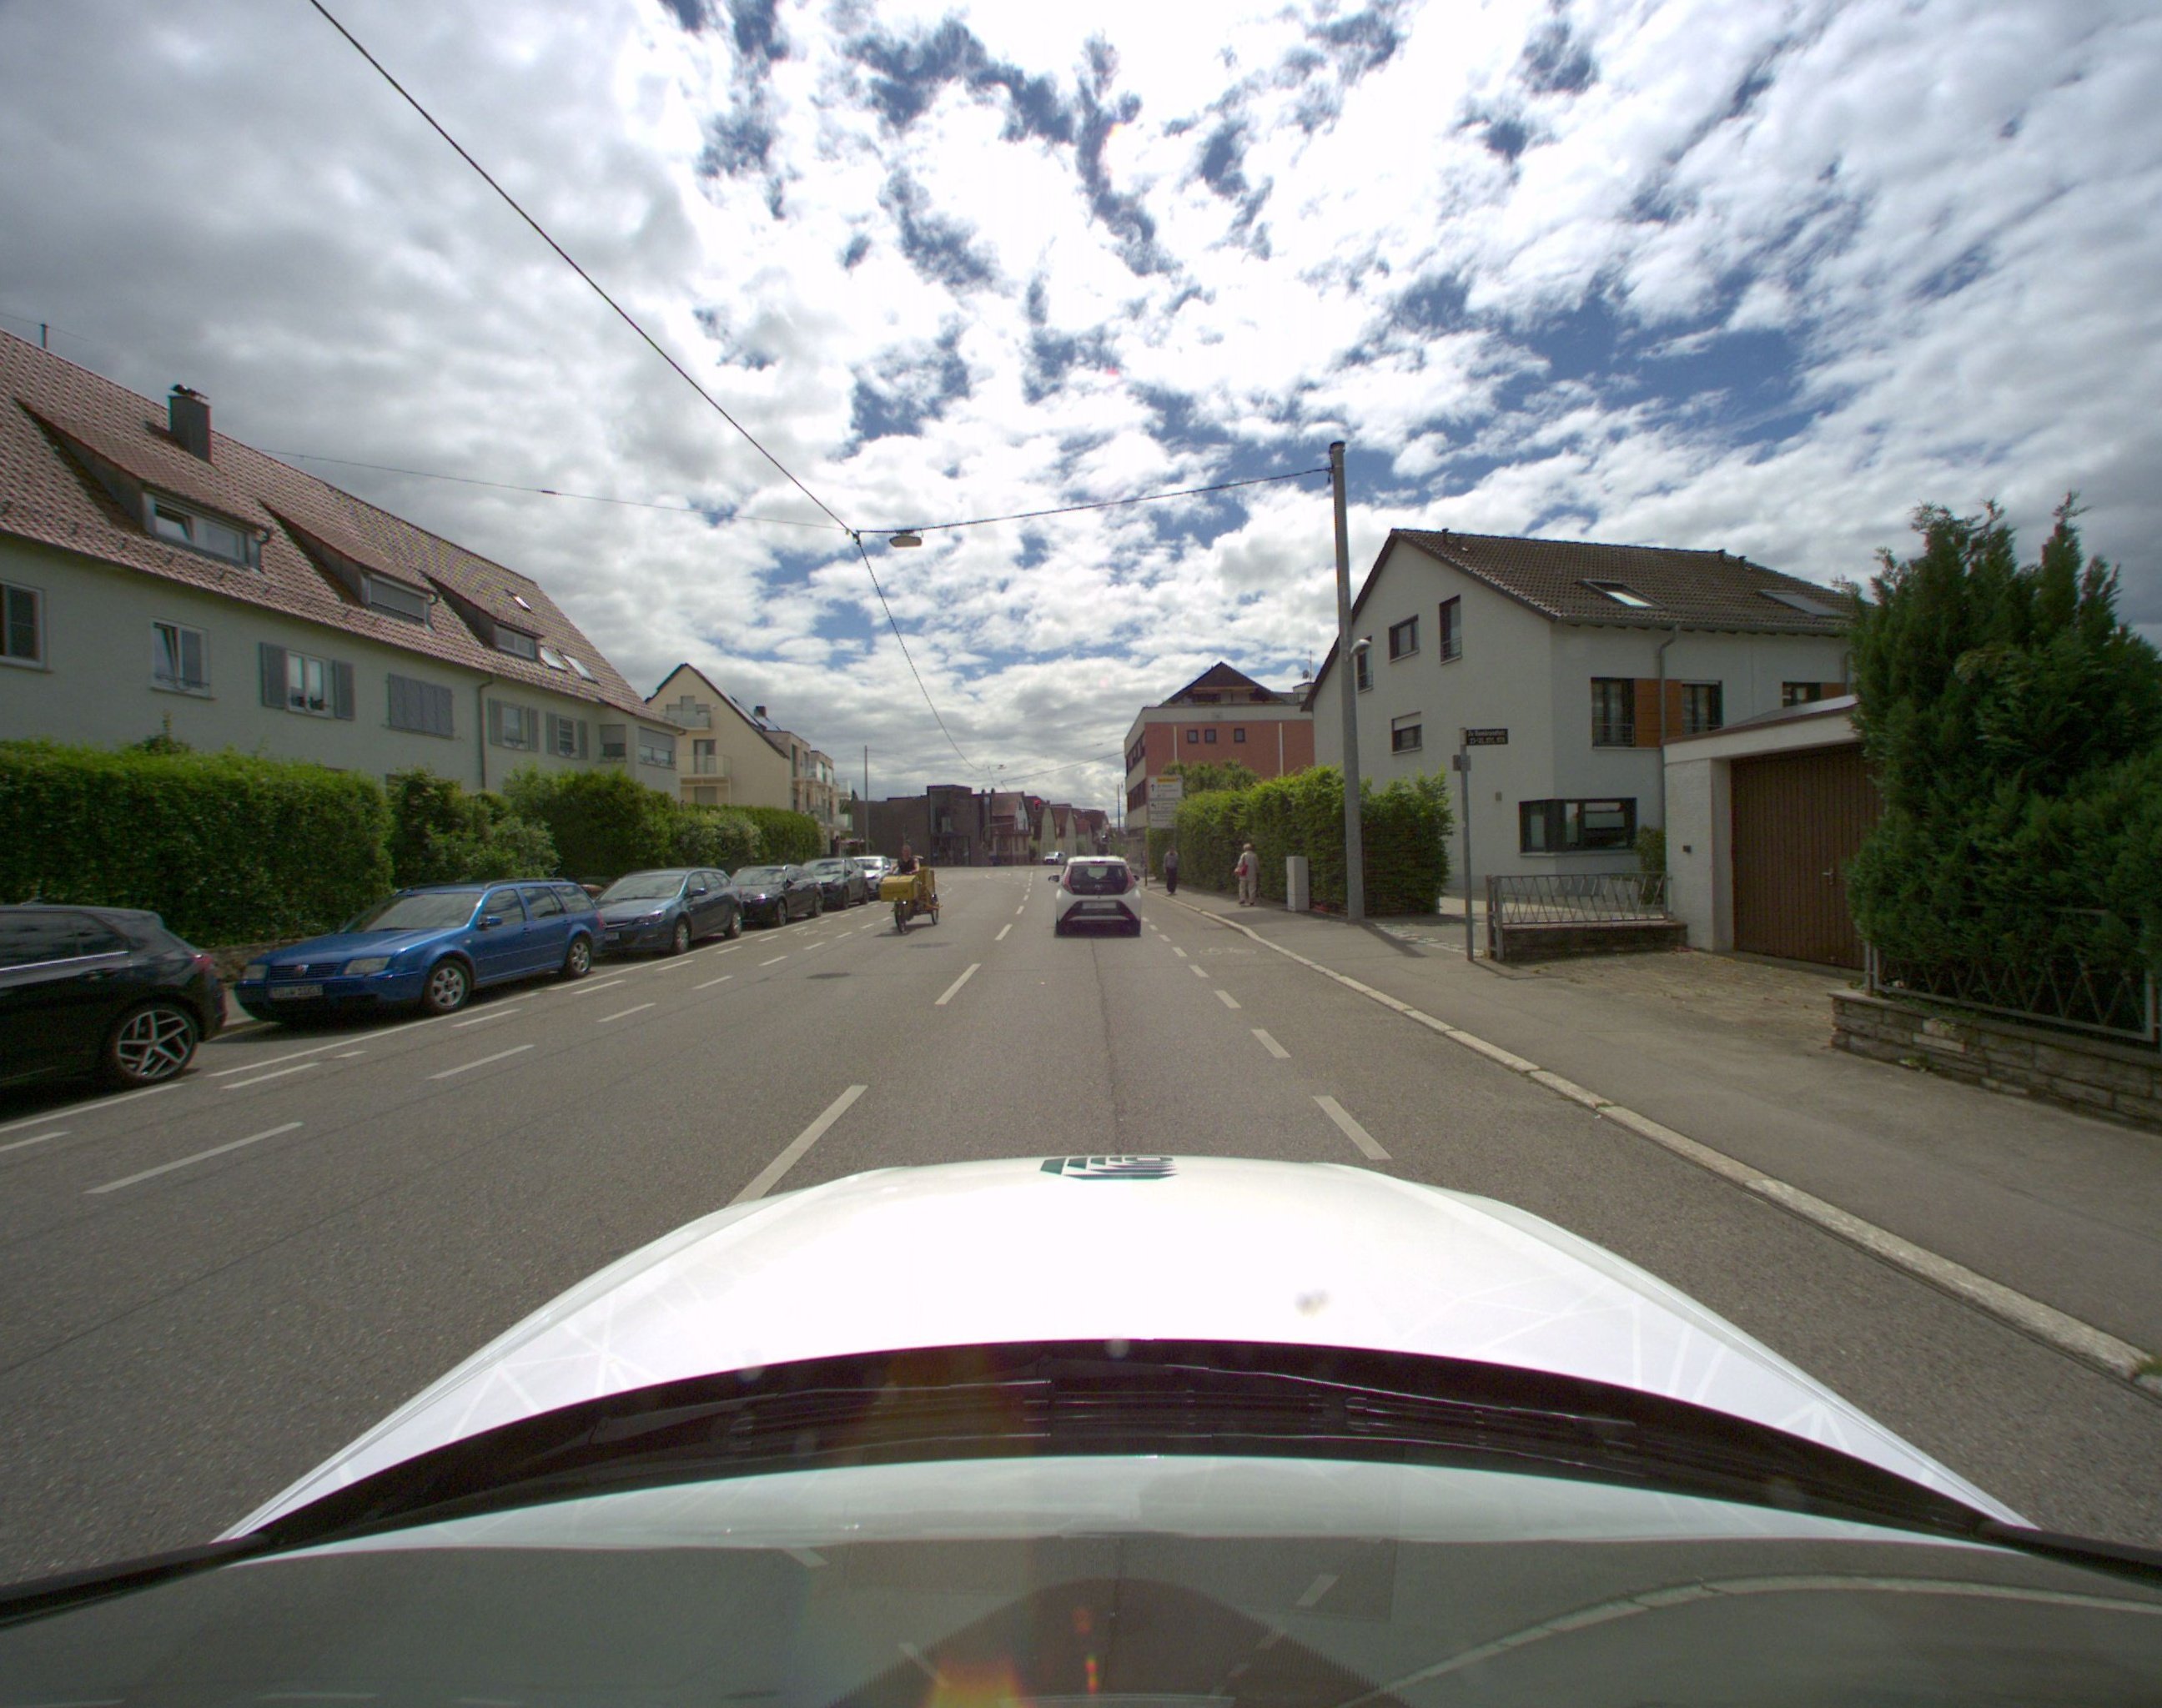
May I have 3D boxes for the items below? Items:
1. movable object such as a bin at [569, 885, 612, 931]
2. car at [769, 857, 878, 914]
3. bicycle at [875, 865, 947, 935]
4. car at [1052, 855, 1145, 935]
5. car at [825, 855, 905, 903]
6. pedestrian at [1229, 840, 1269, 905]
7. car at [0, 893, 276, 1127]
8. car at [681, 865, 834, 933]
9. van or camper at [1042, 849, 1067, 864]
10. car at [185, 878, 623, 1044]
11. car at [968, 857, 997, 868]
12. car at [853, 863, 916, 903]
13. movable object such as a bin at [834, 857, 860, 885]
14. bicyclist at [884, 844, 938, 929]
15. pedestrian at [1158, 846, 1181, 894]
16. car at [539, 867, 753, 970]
[{"bbox_3d":[-10.991,1.200,18.260,0.575,1.002,0.634,0,0,-5],"label":"movable object such as a bin"},{"bbox_3d":[-8.200,0.942,26.423,1.987,1.564,4.689,-2,0,0],"label":"car"},{"bbox_3d":[-3.582,0.927,17.404,0.860,1.301,2.662,-2,0,2],"label":"bicycle"},{"bbox_3d":[0.295,0.750,16.447,1.692,1.456,3.297,0,0,-1],"label":"car"},{"bbox_3d":[-8.293,0.902,31.622,1.988,1.650,4.513,-2,0,-2],"label":"car"},{"bbox_3d":[4.315,0.467,20.972,0.796,1.617,0.653,-3,0,-1],"label":"pedestrian"},{"bbox_3d":[-7.857,1.078,4.840,1.772,1.417,4.339,-2,0,0],"label":"car"},{"bbox_3d":[-8.017,1.047,20.765,1.987,1.408,4.689,-2,0,0],"label":"car"},{"bbox_3d":[-3.545,0.314,109.805,2.101,1.926,5.304,0,0,13],"label":"van or camper"},{"bbox_3d":[-7.826,1.101,10.144,1.773,1.417,4.437,-2,0,-2],"label":"car"},{"bbox_3d":[-13.627,1.142,112.273,3.593,1.419,1.696,0,0,9],"label":"car"},{"bbox_3d":[-8.794,1.268,36.828,1.990,1.587,4.483,-2,0,-4],"label":"car"},{"bbox_3d":[-12.632,0.900,43.967,1.063,1.482,1.212,-2,0,-4],"label":"movable object such as a bin"},{"bbox_3d":[-3.604,0.666,17.332,0.789,1.713,1.209,-2,0,2],"label":"bicyclist"},{"bbox_3d":[3.037,0.545,27.963,0.601,1.605,0.836,-3,0,-1],"label":"pedestrian"},{"bbox_3d":[-7.803,1.046,15.173,1.774,1.491,4.558,-2,0,-4],"label":"car"}]
